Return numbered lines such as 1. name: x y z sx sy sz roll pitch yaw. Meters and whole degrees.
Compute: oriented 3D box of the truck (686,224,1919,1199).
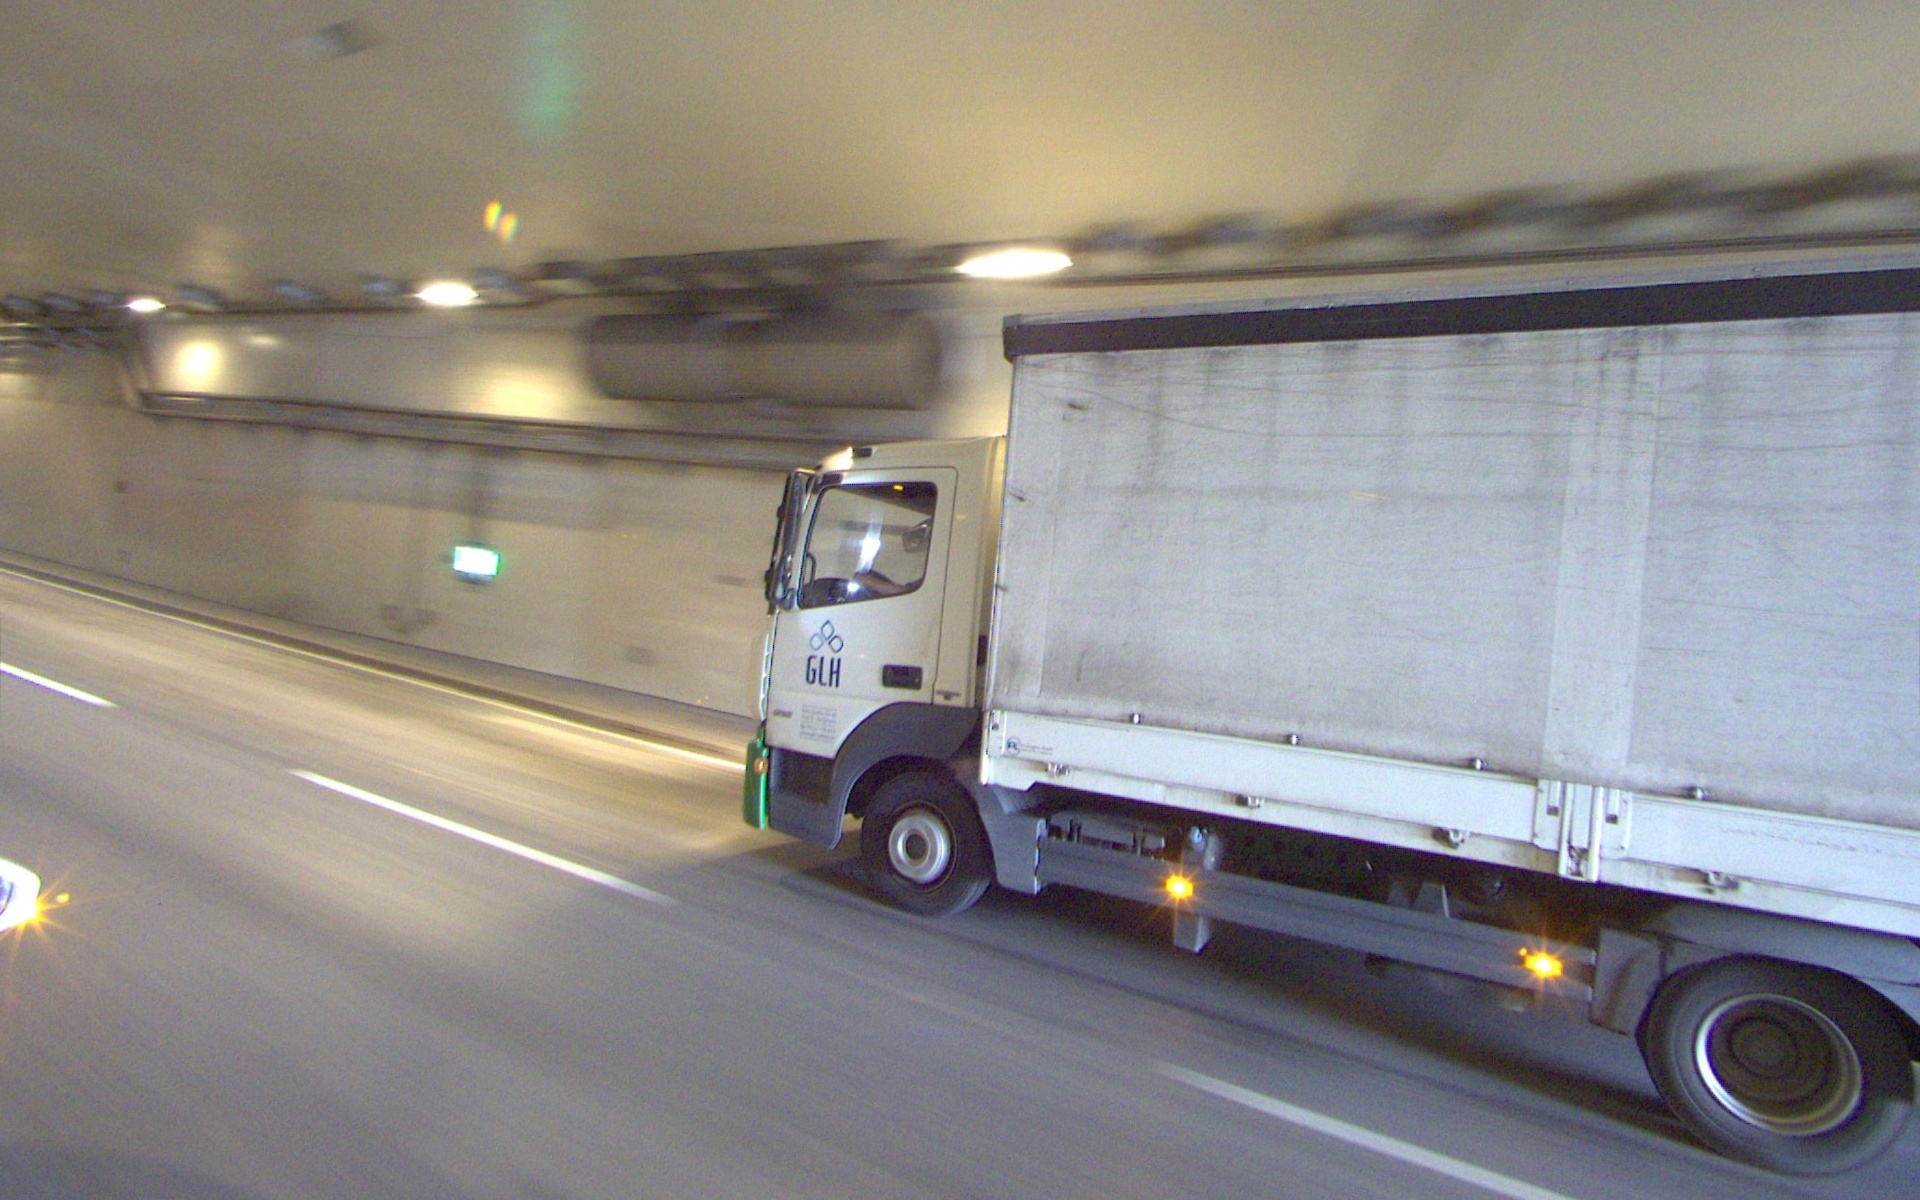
1. truck: 2.341 0.316 5.095 7.120 3.220 2.559 7 0 28
